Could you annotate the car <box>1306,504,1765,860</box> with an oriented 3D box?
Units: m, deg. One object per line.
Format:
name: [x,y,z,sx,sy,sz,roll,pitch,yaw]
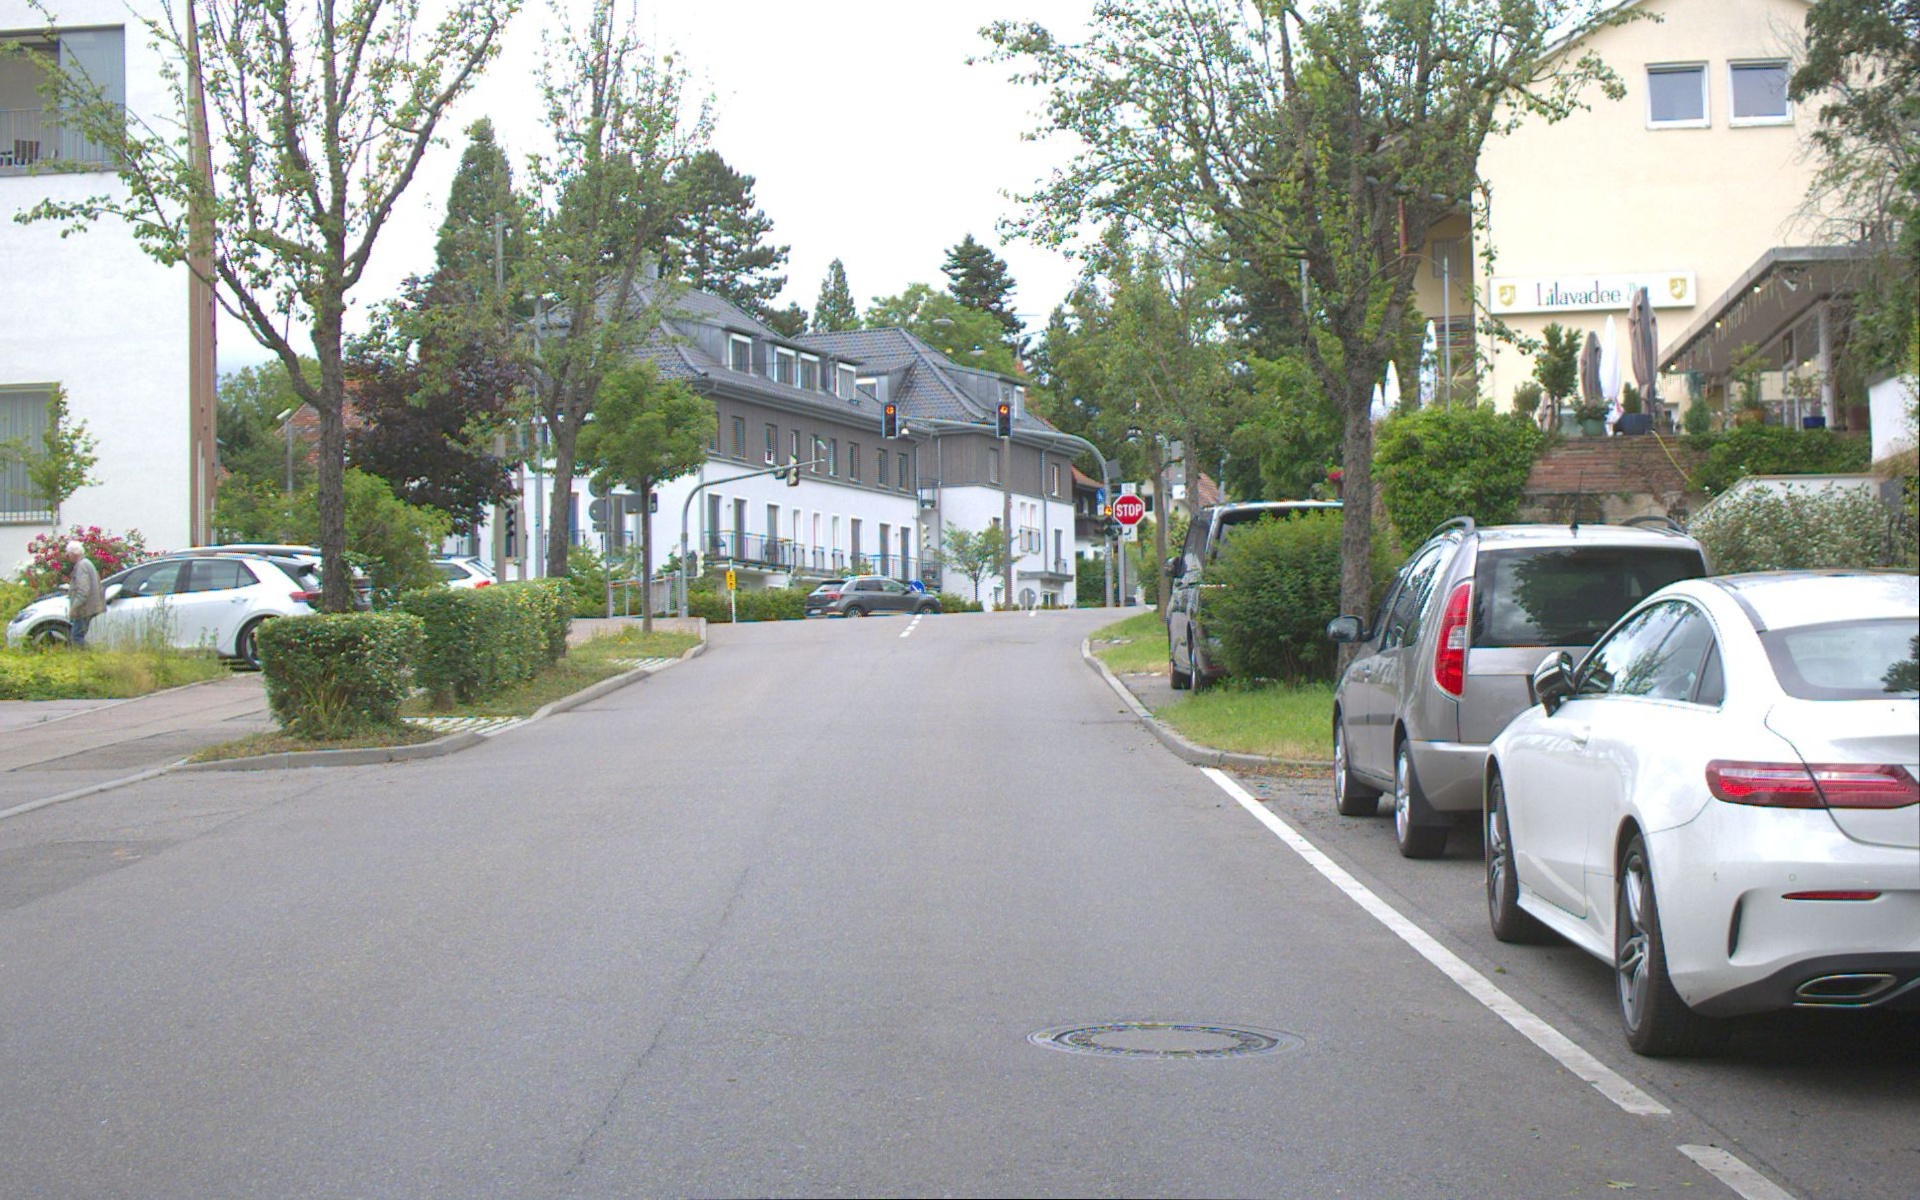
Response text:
car: [2.860,0.355,17.864,1.717,1.627,3.929,1,1,0]

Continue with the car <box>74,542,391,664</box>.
car: [-10.162,0.025,48.244,3.987,1.648,2.008,0,1,1]

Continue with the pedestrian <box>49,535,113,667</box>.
pedestrian: [-11.085,0.007,43.356,0.593,1.635,0.565,-2,0,1]

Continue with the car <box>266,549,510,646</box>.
car: [-10.682,-0.040,64.442,4.259,1.618,2.014,-2,-1,-2]

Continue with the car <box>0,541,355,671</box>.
car: [-10.404,0.062,45.604,4.386,1.561,2.066,-2,1,-1]

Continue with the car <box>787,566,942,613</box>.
car: [-2.749,-0.303,99.204,3.987,1.283,2.000,0,1,-34]

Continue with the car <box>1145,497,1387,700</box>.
car: [2.955,-0.048,34.225,1.936,1.831,5.219,-1,1,0]

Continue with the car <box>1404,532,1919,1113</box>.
car: [2.812,0.543,11.618,1.993,1.486,5.004,-2,1,1]
